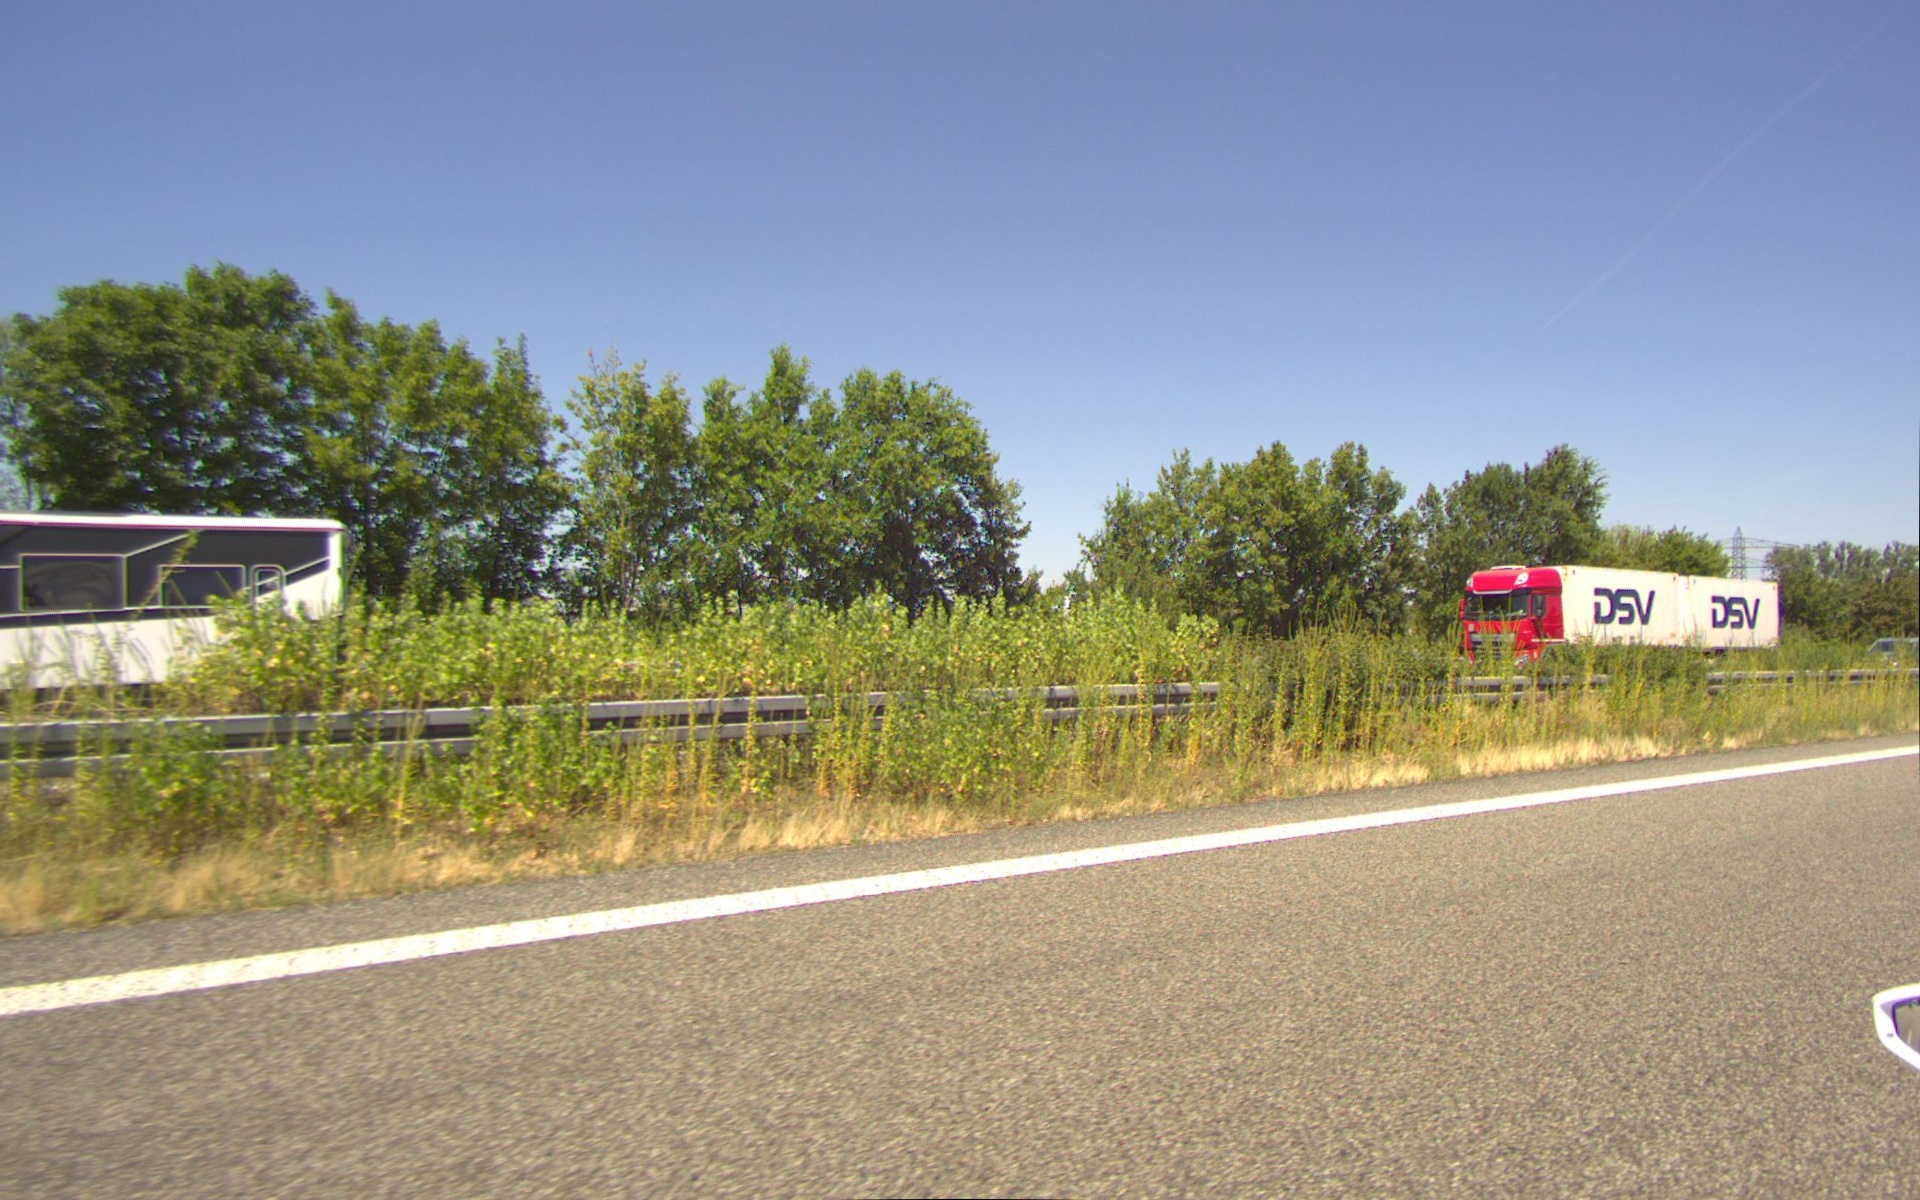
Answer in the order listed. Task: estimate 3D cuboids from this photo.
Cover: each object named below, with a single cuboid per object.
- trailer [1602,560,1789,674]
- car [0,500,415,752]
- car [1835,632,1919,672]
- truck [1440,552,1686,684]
[{"bbox_3d":[30.905,0.680,42.097,8.925,4.383,3.032,0,0,-30],"label":"trailer"},{"bbox_3d":[-10.756,0.330,12.819,6.535,2.859,2.316,1,-2,-32],"label":"car"},{"bbox_3d":[38.348,2.135,41.962,3.999,1.461,1.596,0,1,-32],"label":"car"},{"bbox_3d":[22.485,0.623,37.179,10.499,4.368,3.057,0,1,-30],"label":"truck"}]
